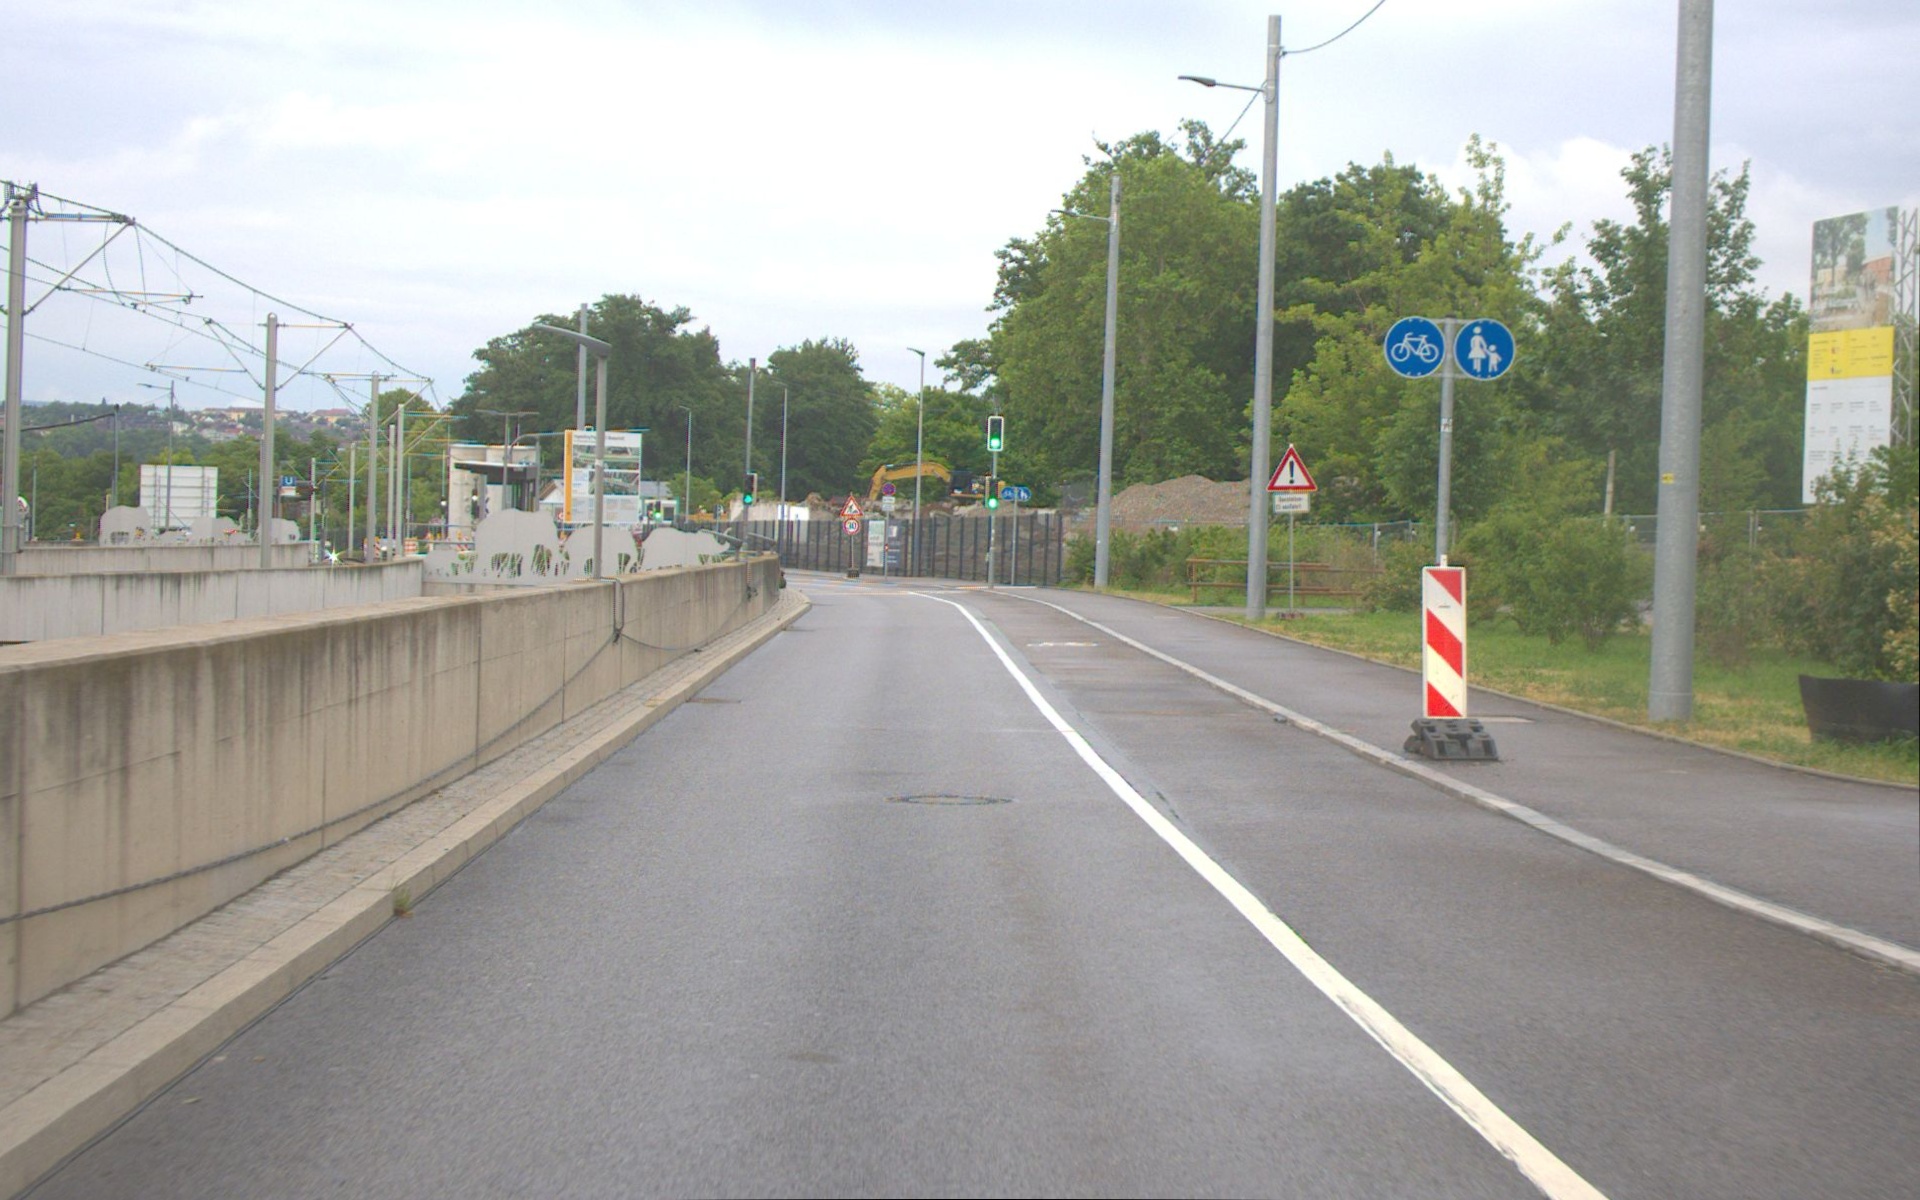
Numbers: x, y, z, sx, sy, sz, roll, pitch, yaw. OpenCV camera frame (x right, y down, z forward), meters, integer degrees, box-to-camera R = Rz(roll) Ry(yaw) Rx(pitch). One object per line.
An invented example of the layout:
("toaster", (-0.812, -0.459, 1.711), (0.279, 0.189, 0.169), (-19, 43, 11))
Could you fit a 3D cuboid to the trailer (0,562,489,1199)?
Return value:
("trailer", (-5.916, 1.893, 26.819), (2.762, 4.238, 13.184), (0, 1, 0))
